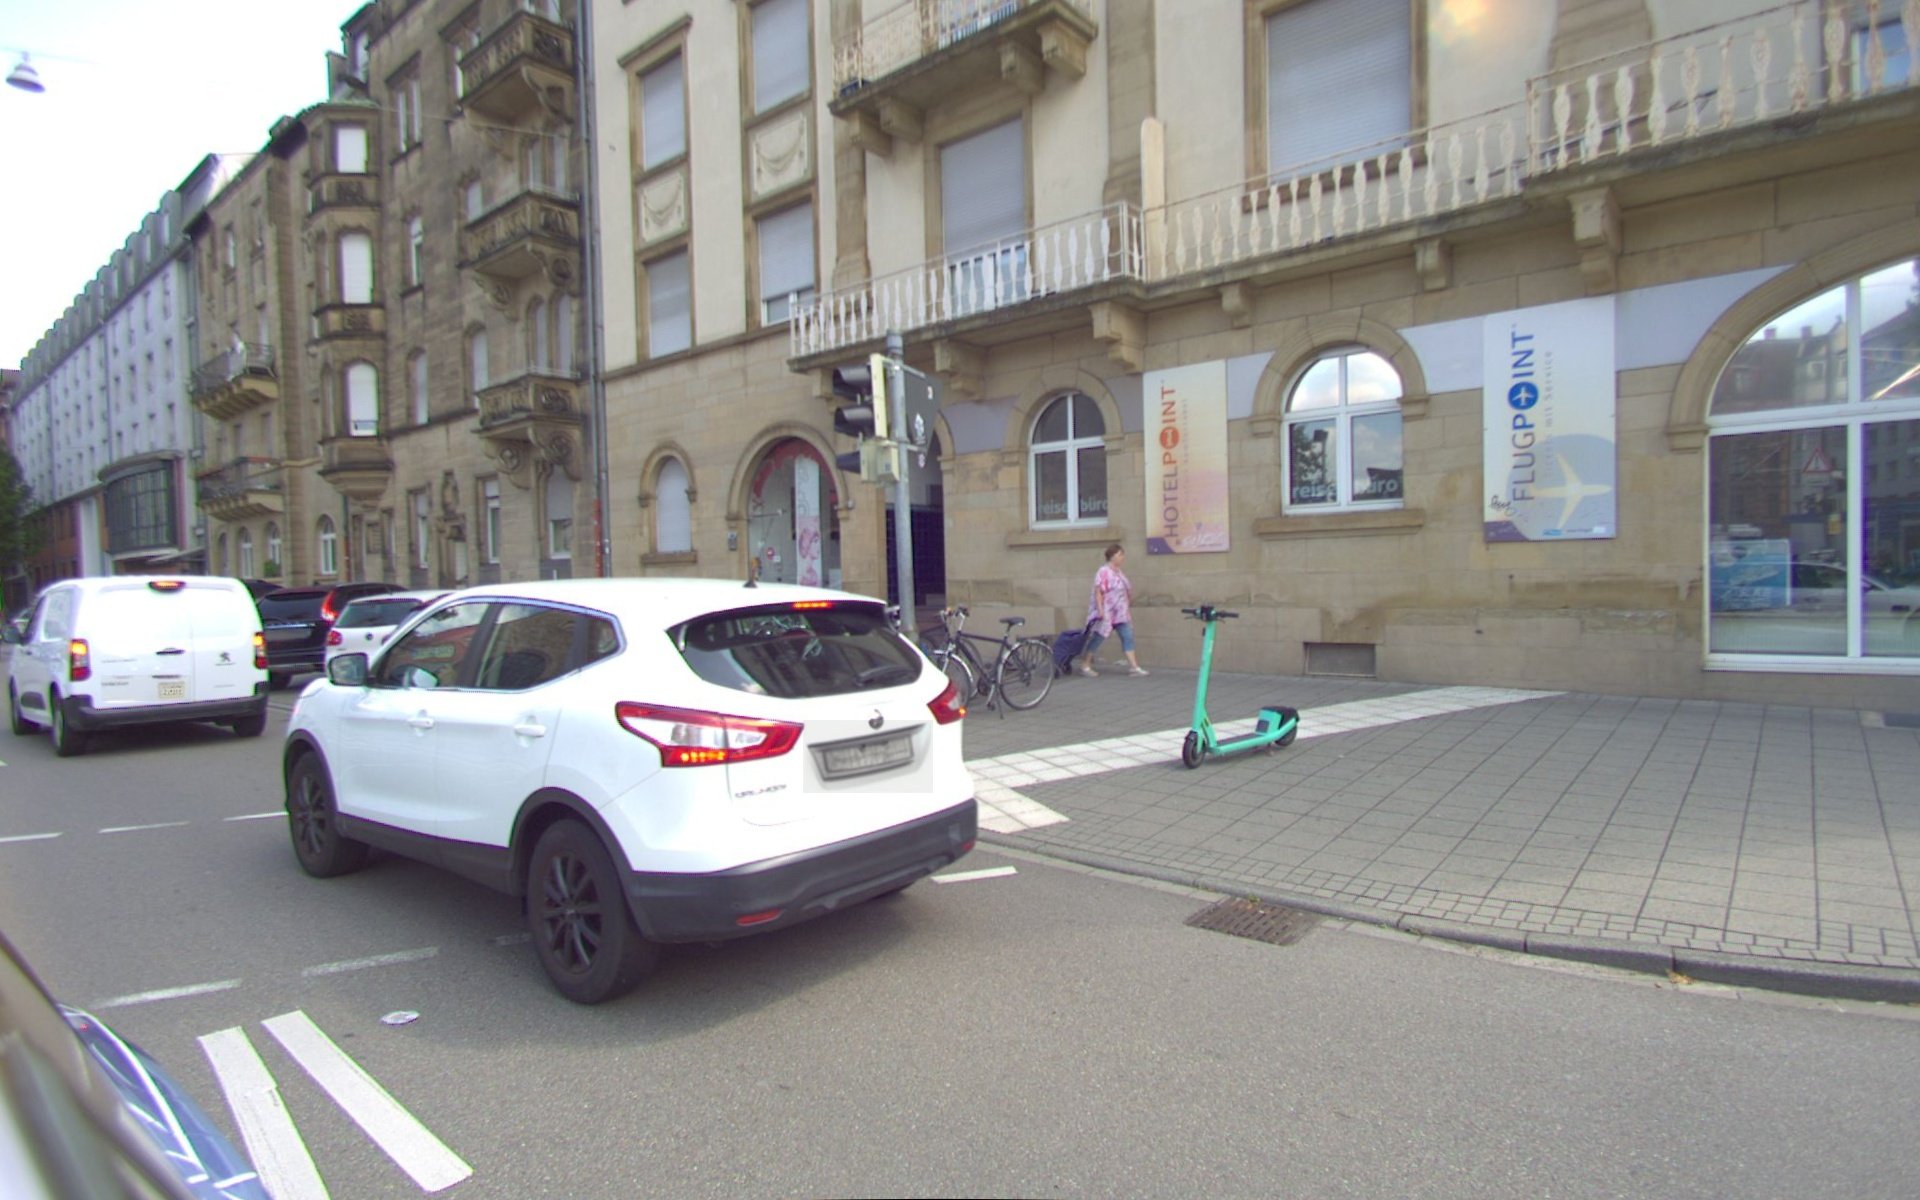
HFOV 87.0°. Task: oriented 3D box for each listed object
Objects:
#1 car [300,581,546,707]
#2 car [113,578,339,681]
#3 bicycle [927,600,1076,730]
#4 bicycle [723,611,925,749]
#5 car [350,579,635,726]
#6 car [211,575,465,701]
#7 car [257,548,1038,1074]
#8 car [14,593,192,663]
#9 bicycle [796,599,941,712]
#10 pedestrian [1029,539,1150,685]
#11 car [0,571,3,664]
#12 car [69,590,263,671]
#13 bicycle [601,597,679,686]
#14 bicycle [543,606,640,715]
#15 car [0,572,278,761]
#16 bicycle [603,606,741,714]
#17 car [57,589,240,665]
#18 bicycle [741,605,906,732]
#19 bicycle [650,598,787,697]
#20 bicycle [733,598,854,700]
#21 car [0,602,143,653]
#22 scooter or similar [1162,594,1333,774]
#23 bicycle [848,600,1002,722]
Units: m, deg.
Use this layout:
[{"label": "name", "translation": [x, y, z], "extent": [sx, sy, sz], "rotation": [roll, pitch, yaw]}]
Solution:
[{"label": "car", "translation": [-8.262, 0.574, 16.028], "extent": [1.707, 1.467, 3.956], "rotation": [-4, 3, 0]}, {"label": "car", "translation": [-15.926, 0.560, 22.241], "extent": [1.710, 1.881, 3.947], "rotation": [-3, 3, 7]}, {"label": "bicycle", "translation": [0.417, 0.582, 9.672], "extent": [1.421, 1.059, 0.481], "rotation": [-5, 3, -40]}, {"label": "bicycle", "translation": [-1.189, 0.668, 9.038], "extent": [1.707, 1.060, 0.532], "rotation": [-2, 1, -33]}, {"label": "car", "translation": [-6.077, 0.576, 13.750], "extent": [1.788, 1.467, 3.998], "rotation": [-3, 3, 3]}, {"label": "car", "translation": [-10.539, 0.537, 17.553], "extent": [1.778, 1.701, 3.954], "rotation": [-4, 3, 1]}, {"label": "car", "translation": [-1.765, 0.623, 5.012], "extent": [4.016, 1.594, 1.753], "rotation": [0, 1, 39]}, {"label": "car", "translation": [-25.078, 0.751, 29.830], "extent": [1.708, 1.596, 3.954], "rotation": [-4, 4, 1]}, {"label": "bicycle", "translation": [-0.986, 0.578, 11.148], "extent": [1.558, 1.059, 0.481], "rotation": [-5, 3, -42]}, {"label": "pedestrian", "translation": [1.552, 0.125, 12.099], "extent": [0.996, 1.606, 0.932], "rotation": [-1, 5, 42]}, {"label": "car", "translation": [-28.179, 0.549, 27.811], "extent": [5.940, 2.463, 2.055], "rotation": [-2, -1, 40]}, {"label": "car", "translation": [-20.249, 0.709, 26.054], "extent": [1.708, 1.596, 3.954], "rotation": [-3, 4, 1]}, {"label": "bicycle", "translation": [-4.432, 0.534, 14.134], "extent": [0.549, 1.059, 1.907], "rotation": [-3, 2, -4]}, {"label": "bicycle", "translation": [-4.229, 0.650, 11.736], "extent": [0.549, 1.059, 1.815], "rotation": [-3, 2, -5]}, {"label": "car", "translation": [-9.635, 0.669, 11.693], "extent": [4.280, 1.789, 1.794], "rotation": [-2, 0, 40]}, {"label": "bicycle", "translation": [-3.235, 0.647, 11.480], "extent": [0.462, 1.059, 1.466], "rotation": [-1, 2, 38]}, {"label": "car", "translation": [-22.264, 0.684, 28.000], "extent": [1.708, 1.596, 3.954], "rotation": [-4, 4, 1]}, {"label": "bicycle", "translation": [-1.323, 0.634, 10.031], "extent": [1.558, 1.059, 0.481], "rotation": [-5, 3, -42]}, {"label": "bicycle", "translation": [-3.003, 0.562, 12.729], "extent": [0.557, 1.059, 1.611], "rotation": [-1, 3, 39]}, {"label": "bicycle", "translation": [-1.969, 0.557, 12.153], "extent": [0.462, 1.059, 1.466], "rotation": [-1, 3, 38]}, {"label": "car", "translation": [-29.456, 0.872, 33.406], "extent": [1.708, 1.485, 3.953], "rotation": [-2, 1, 1]}, {"label": "scooter or similar", "translation": [2.145, 0.578, 7.502], "extent": [1.232, 1.154, 0.482], "rotation": [-5, 3, -31]}, {"label": "bicycle", "translation": [-0.334, 0.585, 10.425], "extent": [1.589, 1.059, 0.481], "rotation": [-5, 3, -42]}]
